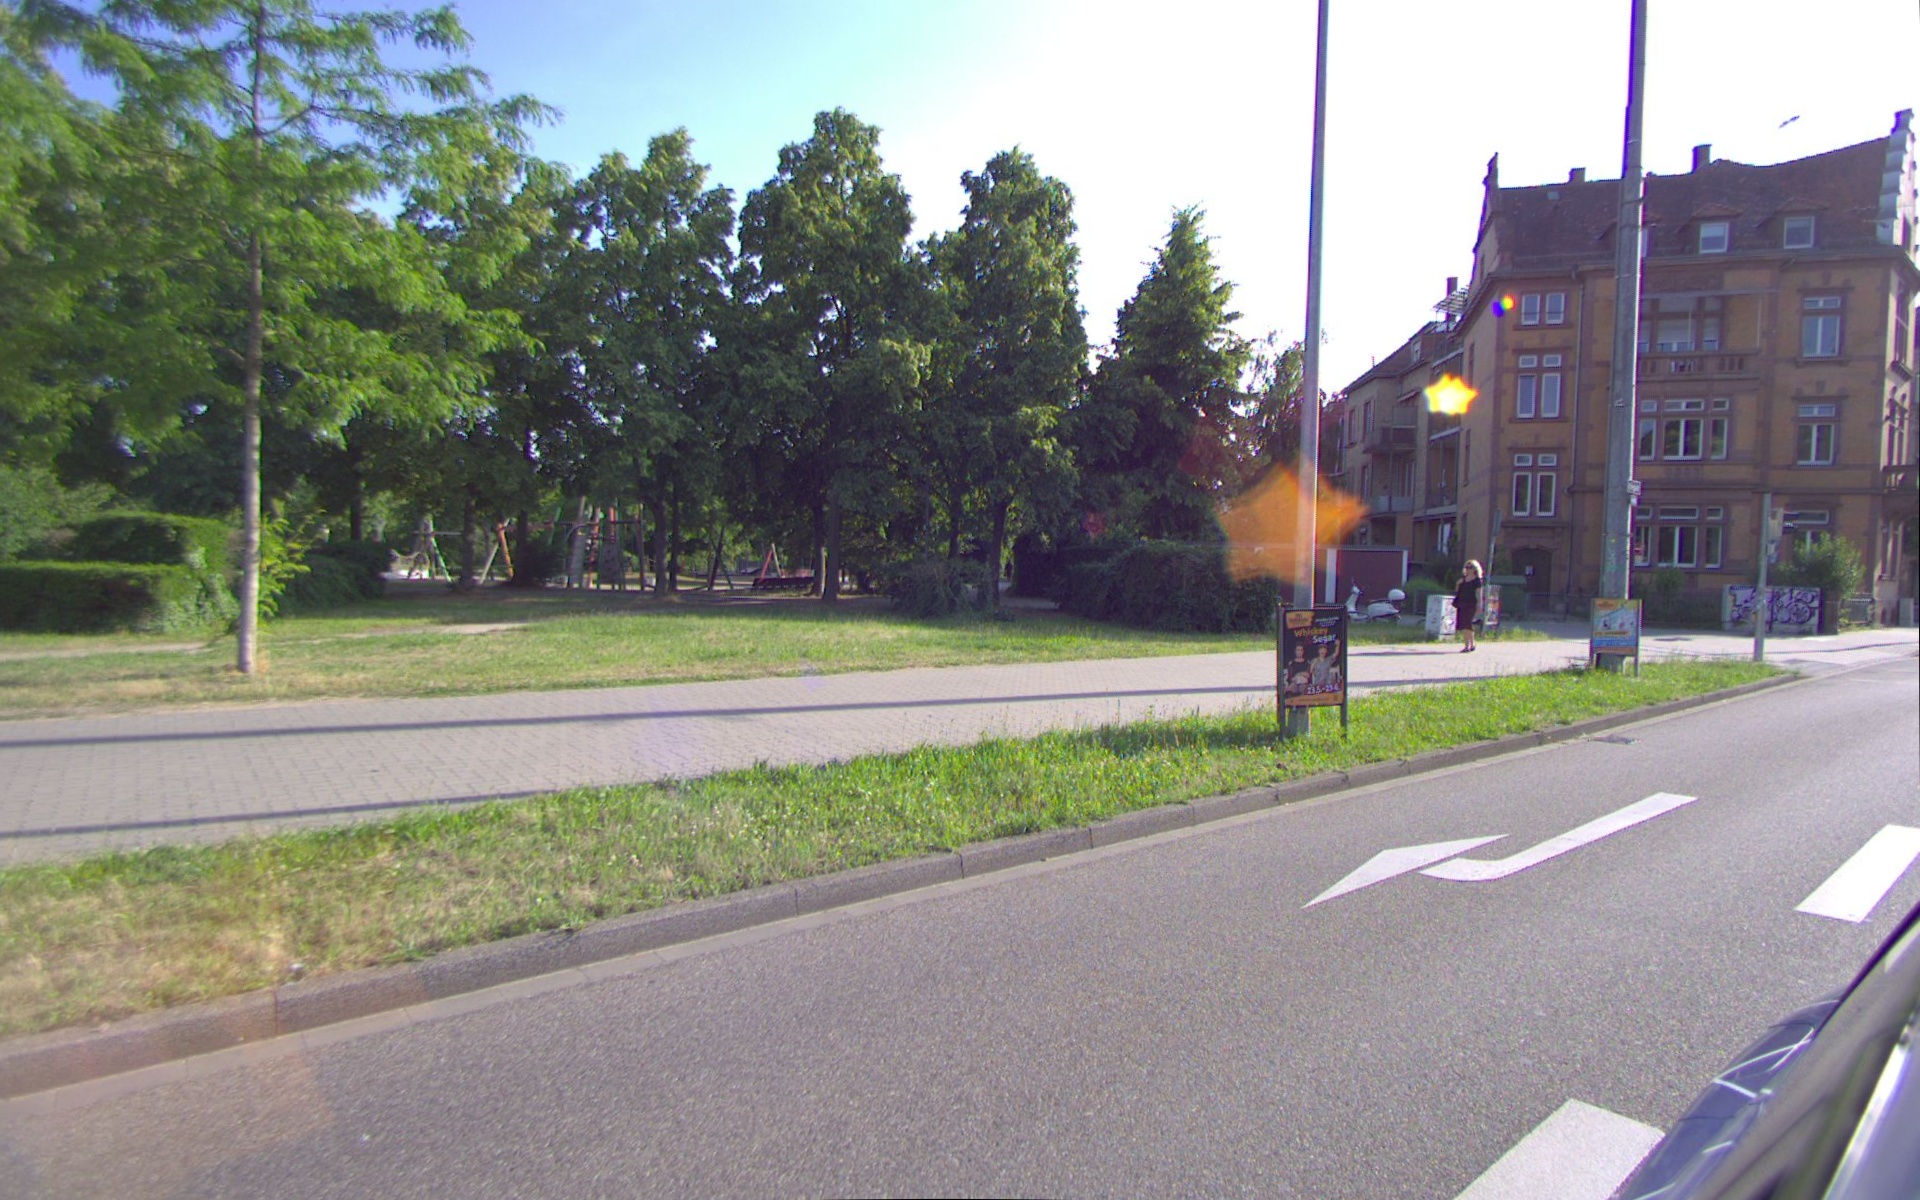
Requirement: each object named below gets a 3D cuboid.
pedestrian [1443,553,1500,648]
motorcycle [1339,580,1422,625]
[{"bbox_3d":[9.613,0.000,19.033,0.538,1.711,0.618,1,6,-36],"label":"pedestrian"},{"bbox_3d":[11.553,0.057,27.846,0.696,1.174,1.997,0,1,-45],"label":"motorcycle"}]
